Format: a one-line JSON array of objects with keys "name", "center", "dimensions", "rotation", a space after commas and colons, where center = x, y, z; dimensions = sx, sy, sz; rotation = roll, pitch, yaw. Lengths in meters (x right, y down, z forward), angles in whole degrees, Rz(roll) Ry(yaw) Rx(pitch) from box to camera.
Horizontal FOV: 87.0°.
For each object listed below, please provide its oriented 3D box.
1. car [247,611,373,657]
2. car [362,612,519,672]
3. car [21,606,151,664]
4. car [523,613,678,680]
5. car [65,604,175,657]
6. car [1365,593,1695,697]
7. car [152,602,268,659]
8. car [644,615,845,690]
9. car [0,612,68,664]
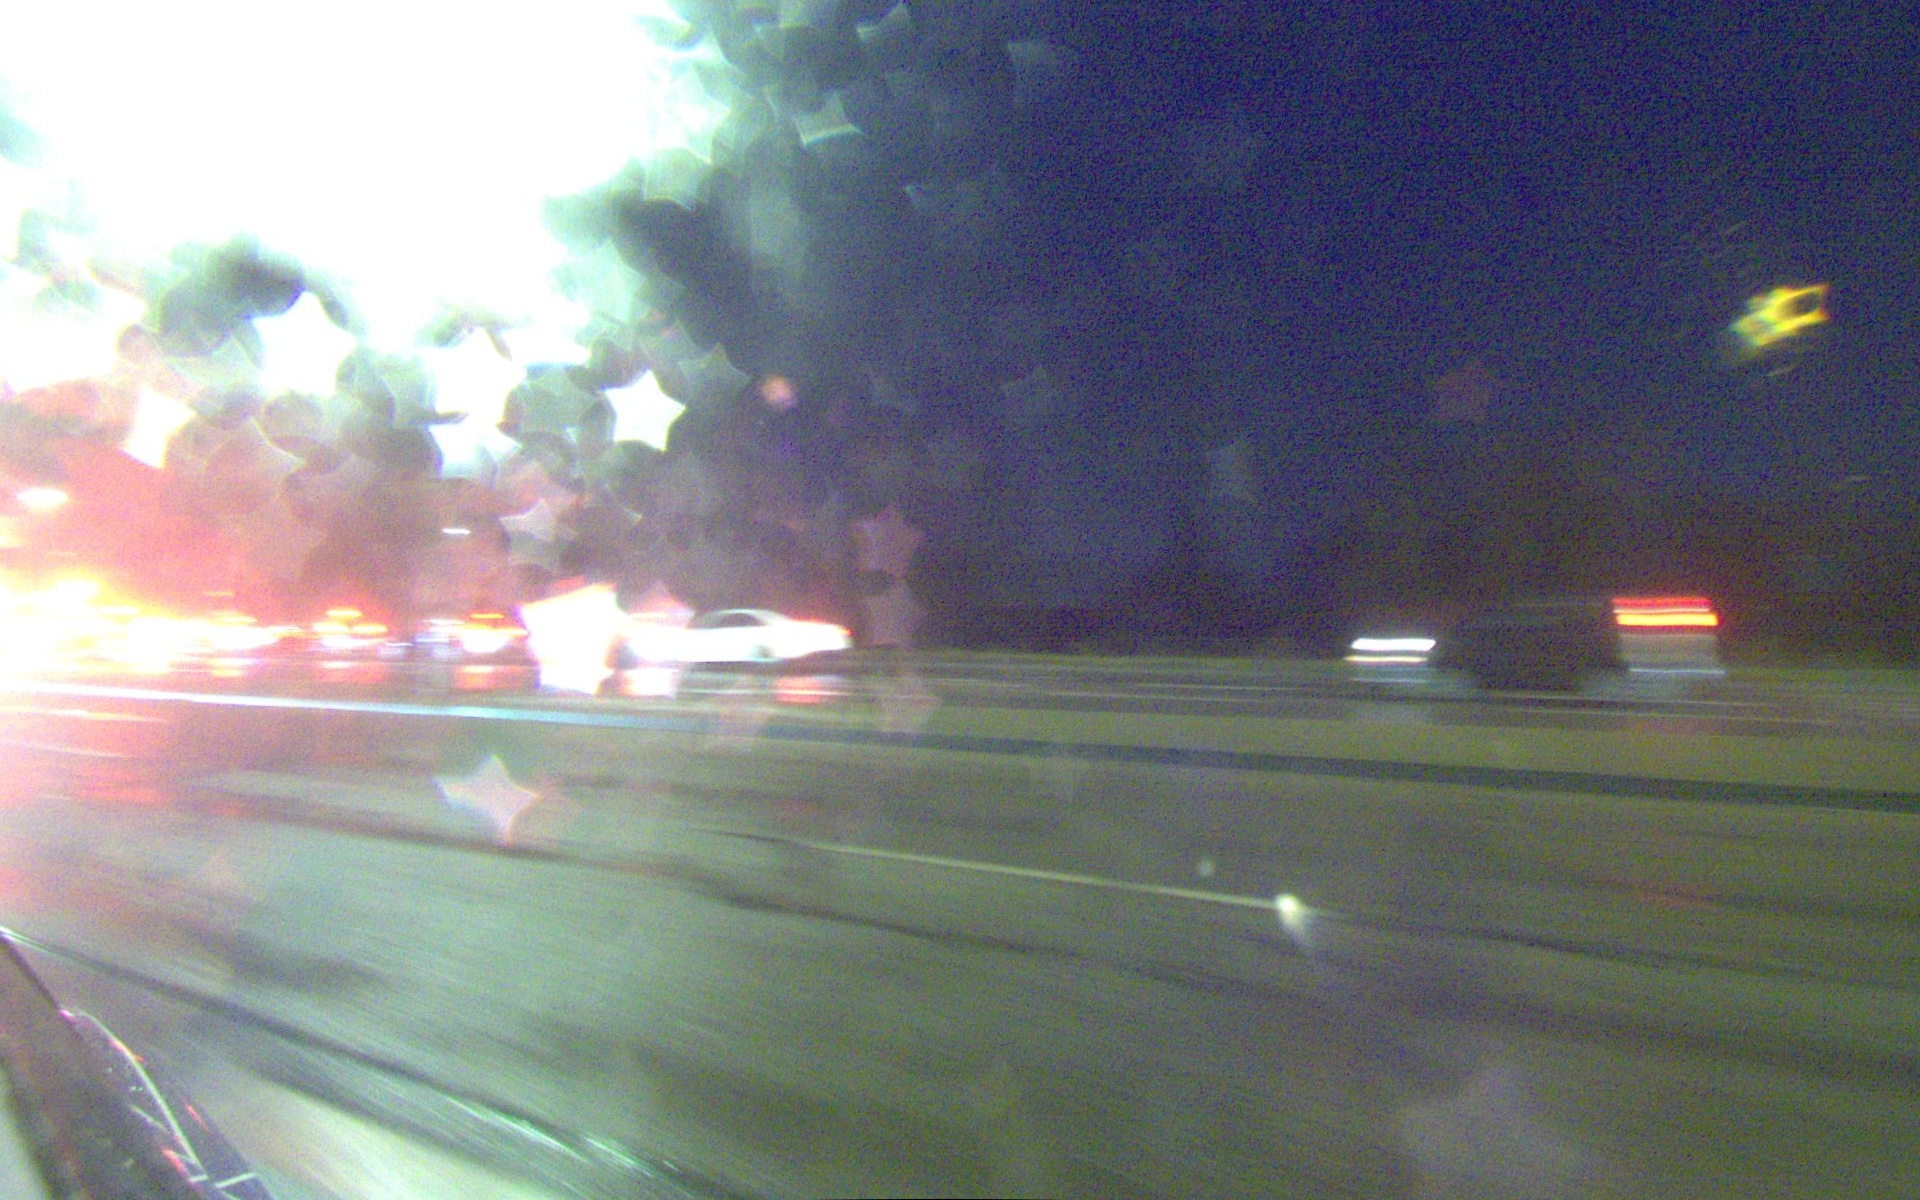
[{"name": "car", "center": [-21.153, 1.080, 32.899], "dimensions": [4.021, 1.387, 1.748], "rotation": [-1, 0, 29]}, {"name": "car", "center": [-15.212, 1.202, 29.598], "dimensions": [4.512, 1.550, 1.840], "rotation": [1, -2, 29]}, {"name": "car", "center": [-28.578, 1.097, 33.062], "dimensions": [4.467, 1.678, 1.787], "rotation": [1, 1, 29]}, {"name": "car", "center": [-9.491, 1.185, 26.659], "dimensions": [4.128, 1.614, 1.483], "rotation": [-1, 0, 29]}, {"name": "car", "center": [-32.215, 1.177, 38.795], "dimensions": [4.231, 1.813, 1.787], "rotation": [-3, -1, 29]}, {"name": "car", "center": [7.394, 0.553, 13.443], "dimensions": [3.597, 1.212, 1.633], "rotation": [-1, 0, 28]}, {"name": "car", "center": [-26.542, 1.037, 35.790], "dimensions": [4.106, 1.862, 1.748], "rotation": [1, 1, 29]}, {"name": "car", "center": [-4.999, 1.155, 23.390], "dimensions": [4.412, 1.542, 1.871], "rotation": [-1, 0, 29]}, {"name": "car", "center": [-34.325, 1.326, 36.672], "dimensions": [3.959, 1.678, 1.787], "rotation": [1, 1, 29]}]
